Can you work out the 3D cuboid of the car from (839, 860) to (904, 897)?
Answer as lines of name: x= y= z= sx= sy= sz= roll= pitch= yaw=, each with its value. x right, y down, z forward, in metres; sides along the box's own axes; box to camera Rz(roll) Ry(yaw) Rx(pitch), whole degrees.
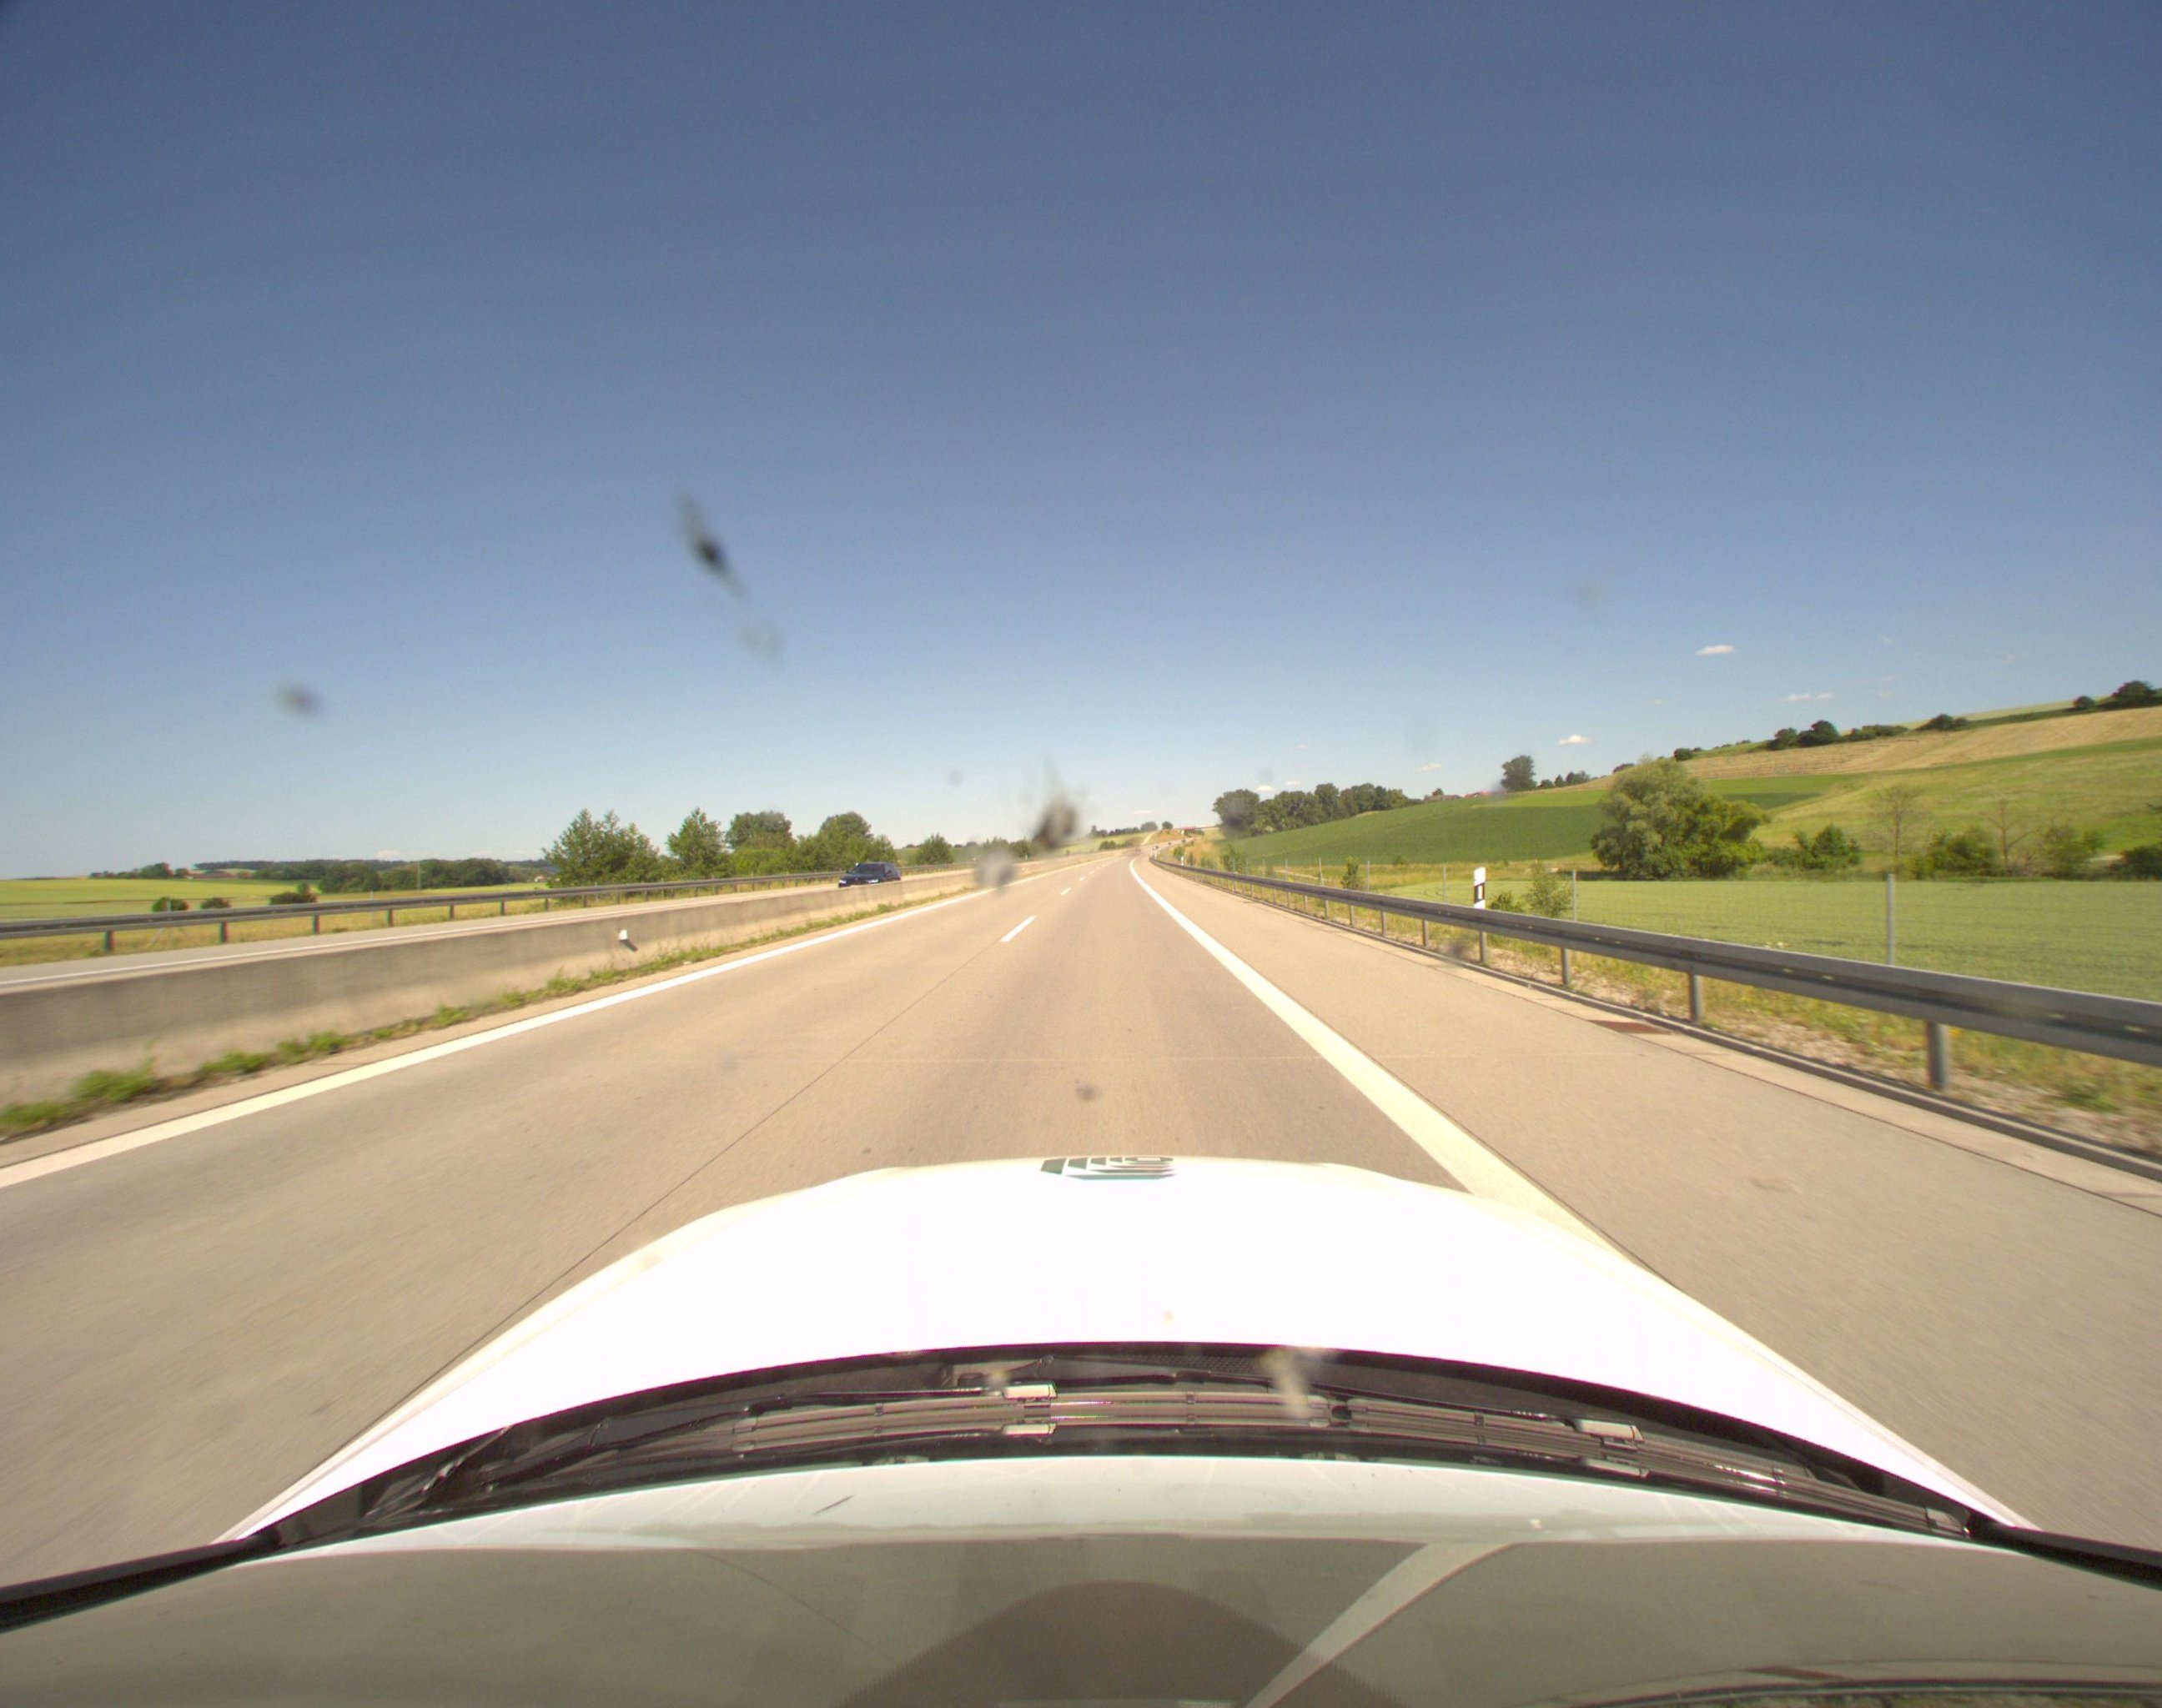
car: x=-9.556 y=1.076 z=37.524 sx=1.704 sy=1.589 sz=4.628 roll=0 pitch=-1 yaw=1
